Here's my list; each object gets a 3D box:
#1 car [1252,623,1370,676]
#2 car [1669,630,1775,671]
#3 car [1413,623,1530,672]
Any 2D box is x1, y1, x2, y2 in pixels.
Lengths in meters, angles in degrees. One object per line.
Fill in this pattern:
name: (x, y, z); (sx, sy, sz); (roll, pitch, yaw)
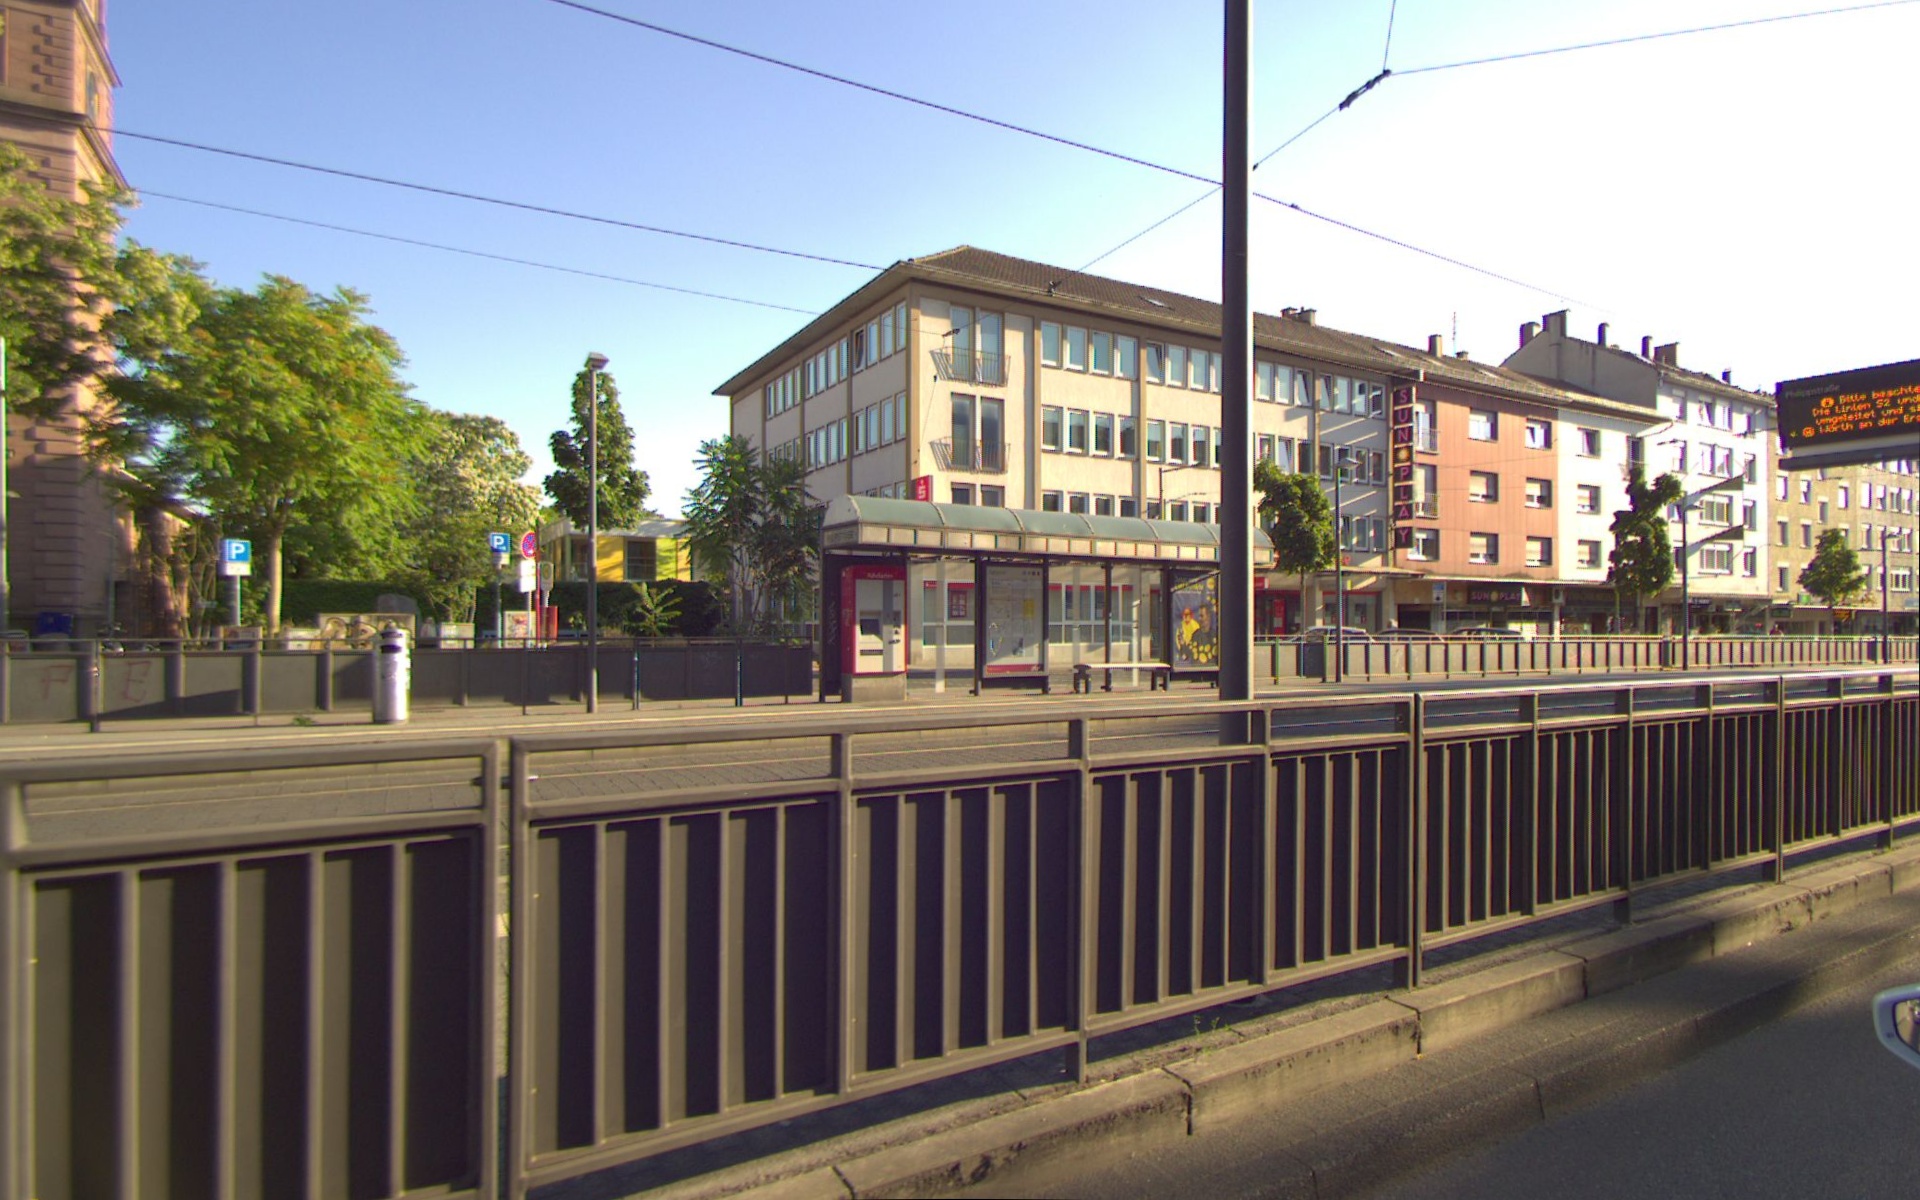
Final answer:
car: (11.501, 1.613, 33.104); (3.439, 1.702, 1.772); (-1, -1, 11)
car: (35.678, 2.346, 47.128); (3.440, 1.701, 1.772); (-4, -1, 14)
car: (18.508, 1.699, 36.503); (3.440, 1.702, 1.772); (-1, -2, 14)
